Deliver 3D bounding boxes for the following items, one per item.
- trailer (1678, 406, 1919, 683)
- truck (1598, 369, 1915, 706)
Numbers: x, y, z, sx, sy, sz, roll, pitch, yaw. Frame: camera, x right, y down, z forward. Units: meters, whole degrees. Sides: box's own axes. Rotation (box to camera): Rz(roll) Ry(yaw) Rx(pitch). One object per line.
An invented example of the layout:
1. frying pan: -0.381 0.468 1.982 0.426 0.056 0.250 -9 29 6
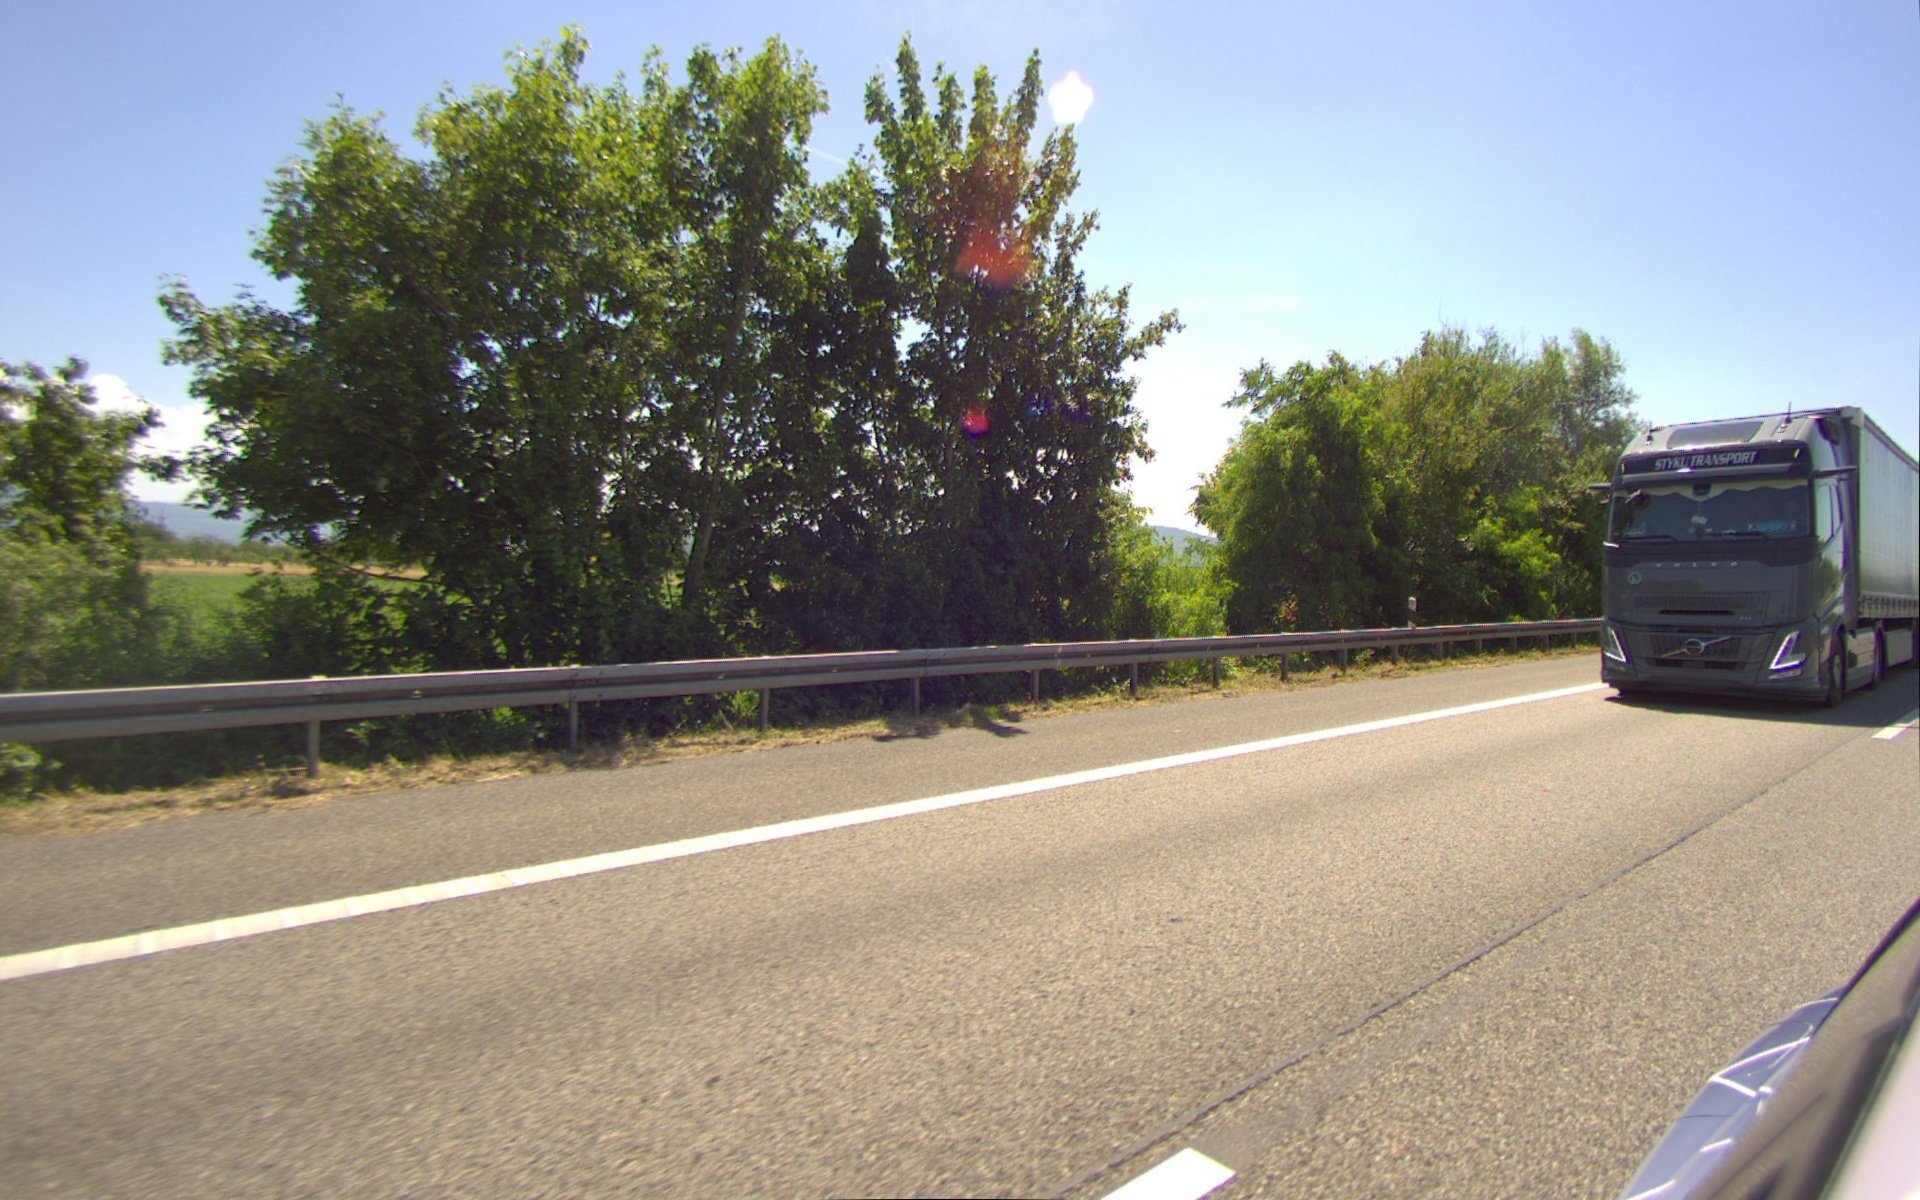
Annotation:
1. trailer: 17.611 -0.854 19.974 13.302 4.004 2.557 0 1 -41
2. truck: 12.066 -0.784 15.113 6.400 4.004 2.557 0 1 -41
